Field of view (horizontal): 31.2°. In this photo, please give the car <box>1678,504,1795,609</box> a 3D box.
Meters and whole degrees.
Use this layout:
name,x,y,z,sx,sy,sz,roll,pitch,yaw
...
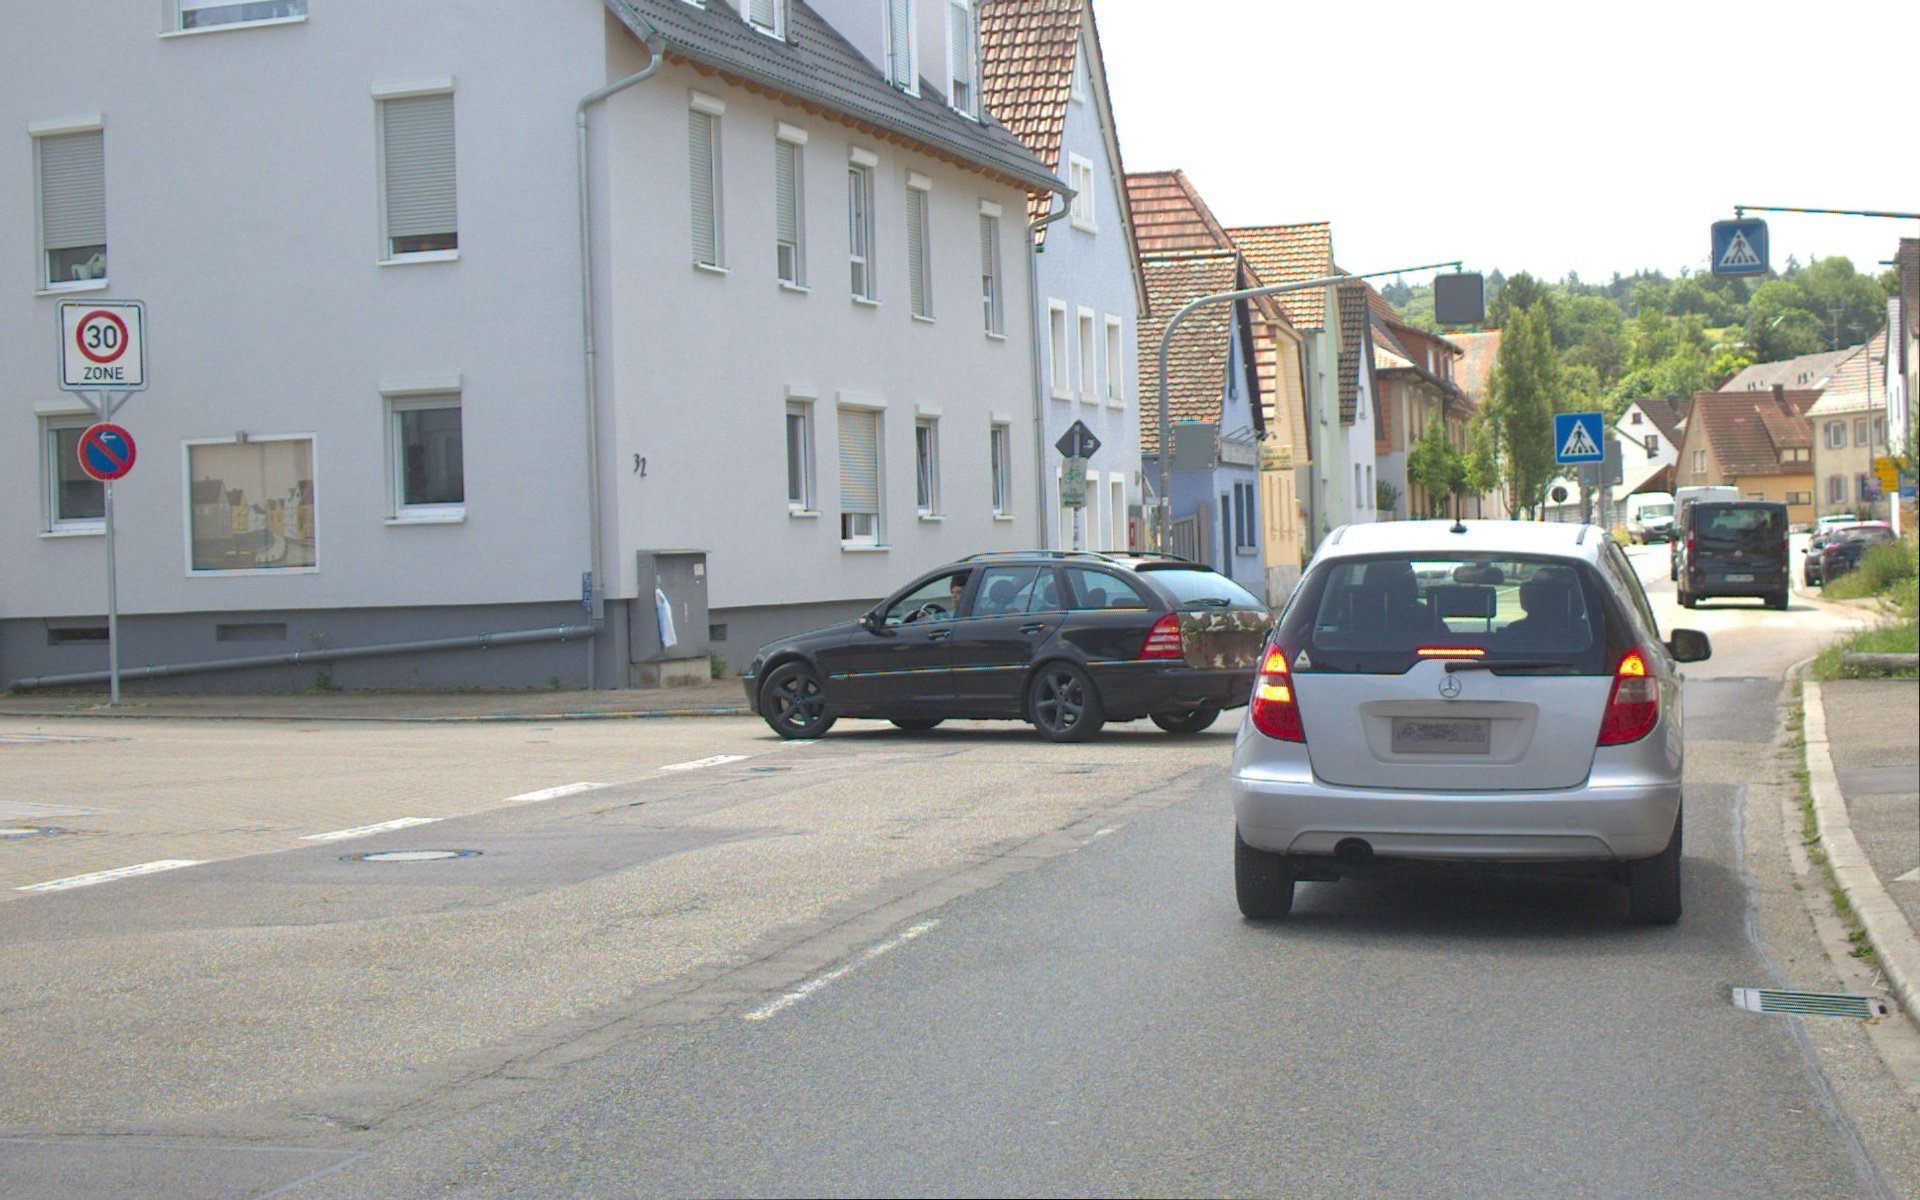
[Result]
name,x,y,z,sx,sy,sz,roll,pitch,yaw
car,14.143,-0.764,62.767,1.994,1.810,3.998,0,-1,12

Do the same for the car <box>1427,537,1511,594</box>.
name,x,y,z,sx,sy,sz,roll,pitch,yaw
car,12.654,-0.838,85.589,1.994,1.317,3.707,0,-1,8

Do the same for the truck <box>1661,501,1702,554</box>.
name,x,y,z,sx,sy,sz,roll,pitch,yaw
truck,37.216,-3.701,177.353,1.994,2.528,6.735,0,-1,12

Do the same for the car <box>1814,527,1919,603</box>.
name,x,y,z,sx,sy,sz,roll,pitch,yaw
car,19.129,-0.717,72.696,1.995,1.503,3.997,0,-1,13

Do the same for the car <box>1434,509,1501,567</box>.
name,x,y,z,sx,sy,sz,roll,pitch,yaw
car,15.303,-1.852,103.562,1.668,1.590,3.997,0,-1,13

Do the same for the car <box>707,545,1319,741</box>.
name,x,y,z,sx,sy,sz,roll,pitch,yaw
car,0.350,0.337,26.813,4.631,1.407,1.810,-1,-1,38

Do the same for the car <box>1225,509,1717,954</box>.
name,x,y,z,sx,sy,sz,roll,pitch,yaw
car,2.250,0.466,14.781,1.811,1.638,3.727,1,1,10

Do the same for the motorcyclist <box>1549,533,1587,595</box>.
name,x,y,z,sx,sy,sz,roll,pitch,yaw
motorcyclist,15.336,-0.902,86.717,0.897,1.549,0.806,0,1,13

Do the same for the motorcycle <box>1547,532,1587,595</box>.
name,x,y,z,sx,sy,sz,roll,pitch,yaw
motorcycle,15.298,-0.922,86.656,0.881,1.555,1.966,0,1,13

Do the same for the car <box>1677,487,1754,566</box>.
name,x,y,z,sx,sy,sz,roll,pitch,yaw
car,20.571,-1.973,93.595,1.994,2.007,3.997,0,-1,13

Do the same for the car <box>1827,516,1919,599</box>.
name,x,y,z,sx,sy,sz,roll,pitch,yaw
car,17.814,-0.791,66.330,1.995,1.503,3.997,0,-1,13
